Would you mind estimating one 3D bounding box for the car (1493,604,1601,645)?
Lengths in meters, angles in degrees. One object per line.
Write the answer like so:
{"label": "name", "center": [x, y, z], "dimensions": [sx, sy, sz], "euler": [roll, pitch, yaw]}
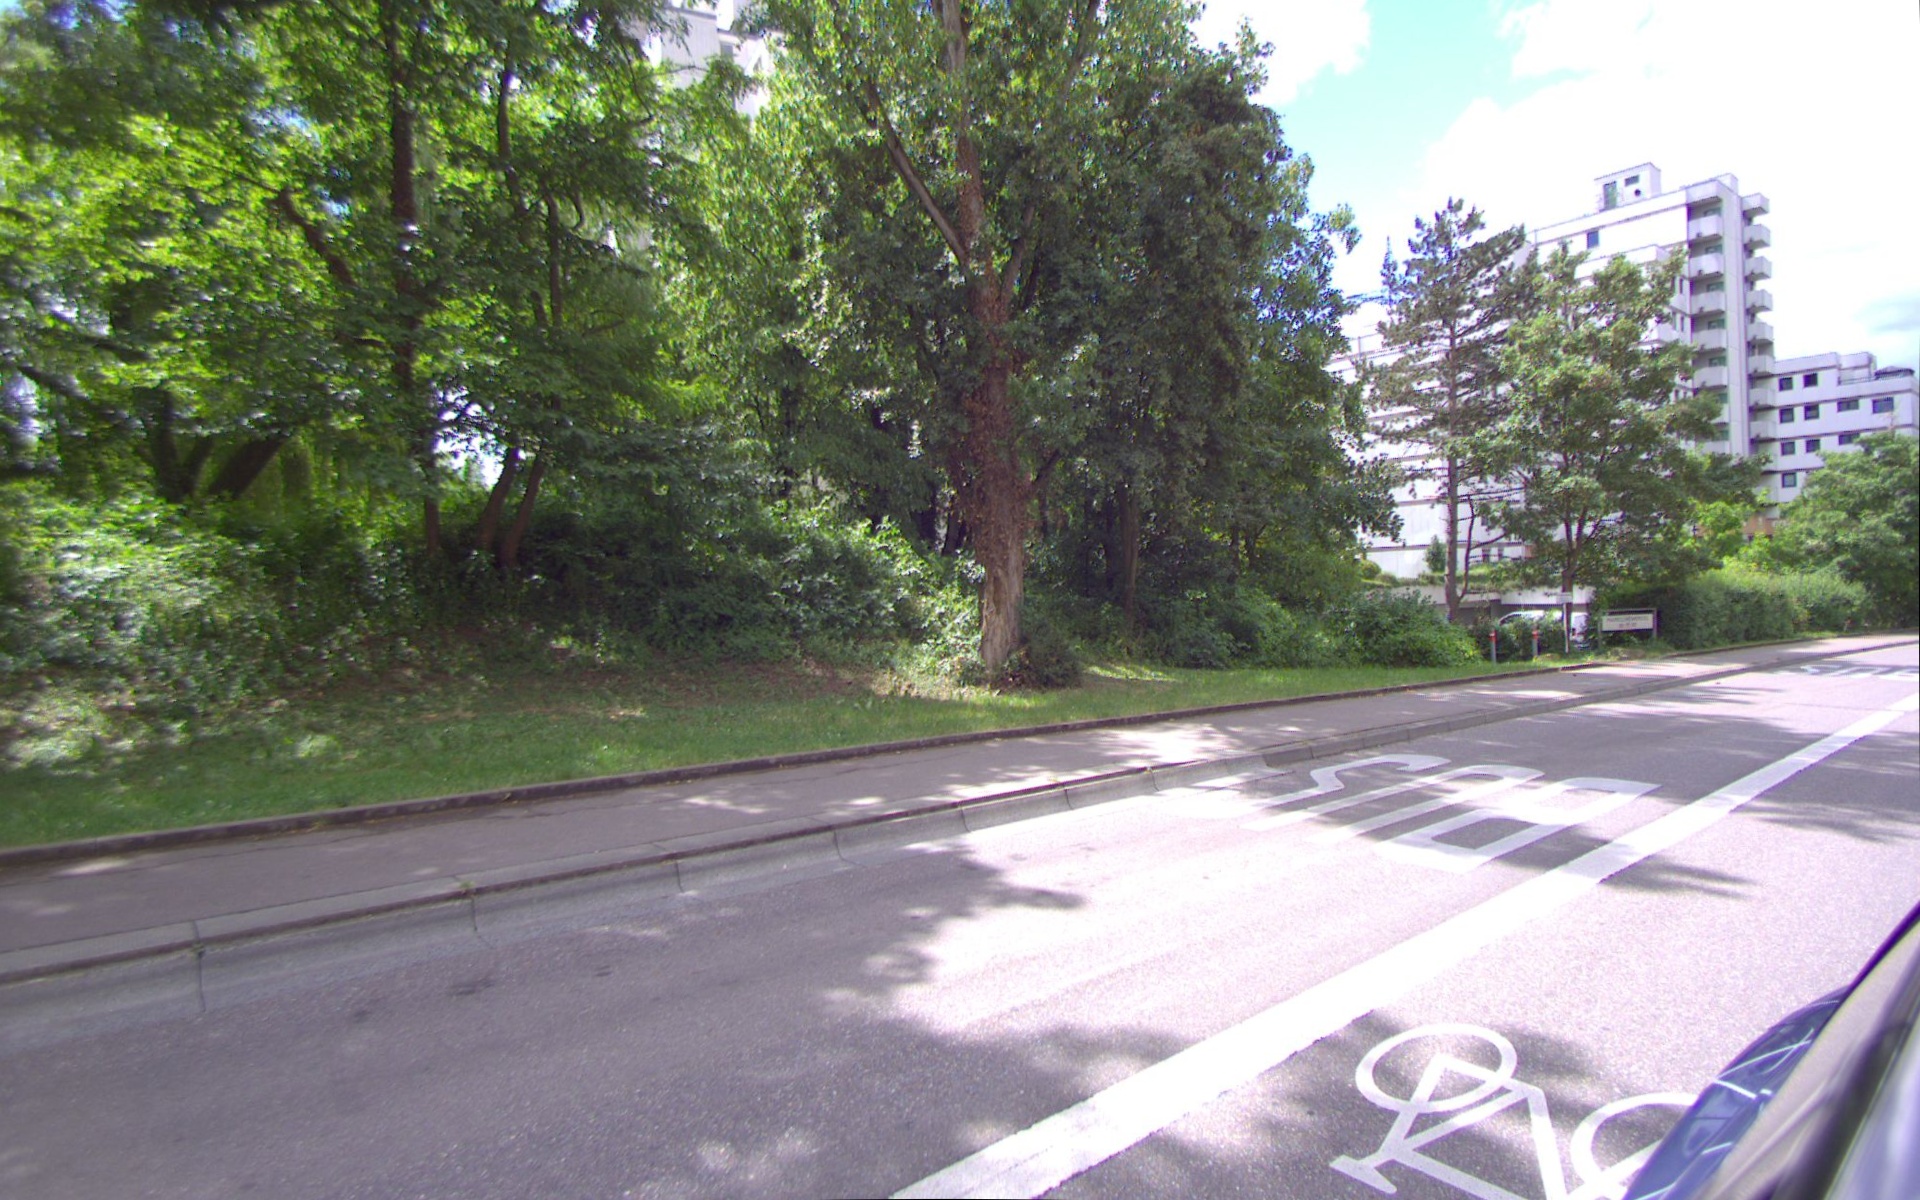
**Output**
{"label": "car", "center": [31.037, 1.230, 53.634], "dimensions": [1.962, 2.039, 4.549], "euler": [-1, 0, -34]}
